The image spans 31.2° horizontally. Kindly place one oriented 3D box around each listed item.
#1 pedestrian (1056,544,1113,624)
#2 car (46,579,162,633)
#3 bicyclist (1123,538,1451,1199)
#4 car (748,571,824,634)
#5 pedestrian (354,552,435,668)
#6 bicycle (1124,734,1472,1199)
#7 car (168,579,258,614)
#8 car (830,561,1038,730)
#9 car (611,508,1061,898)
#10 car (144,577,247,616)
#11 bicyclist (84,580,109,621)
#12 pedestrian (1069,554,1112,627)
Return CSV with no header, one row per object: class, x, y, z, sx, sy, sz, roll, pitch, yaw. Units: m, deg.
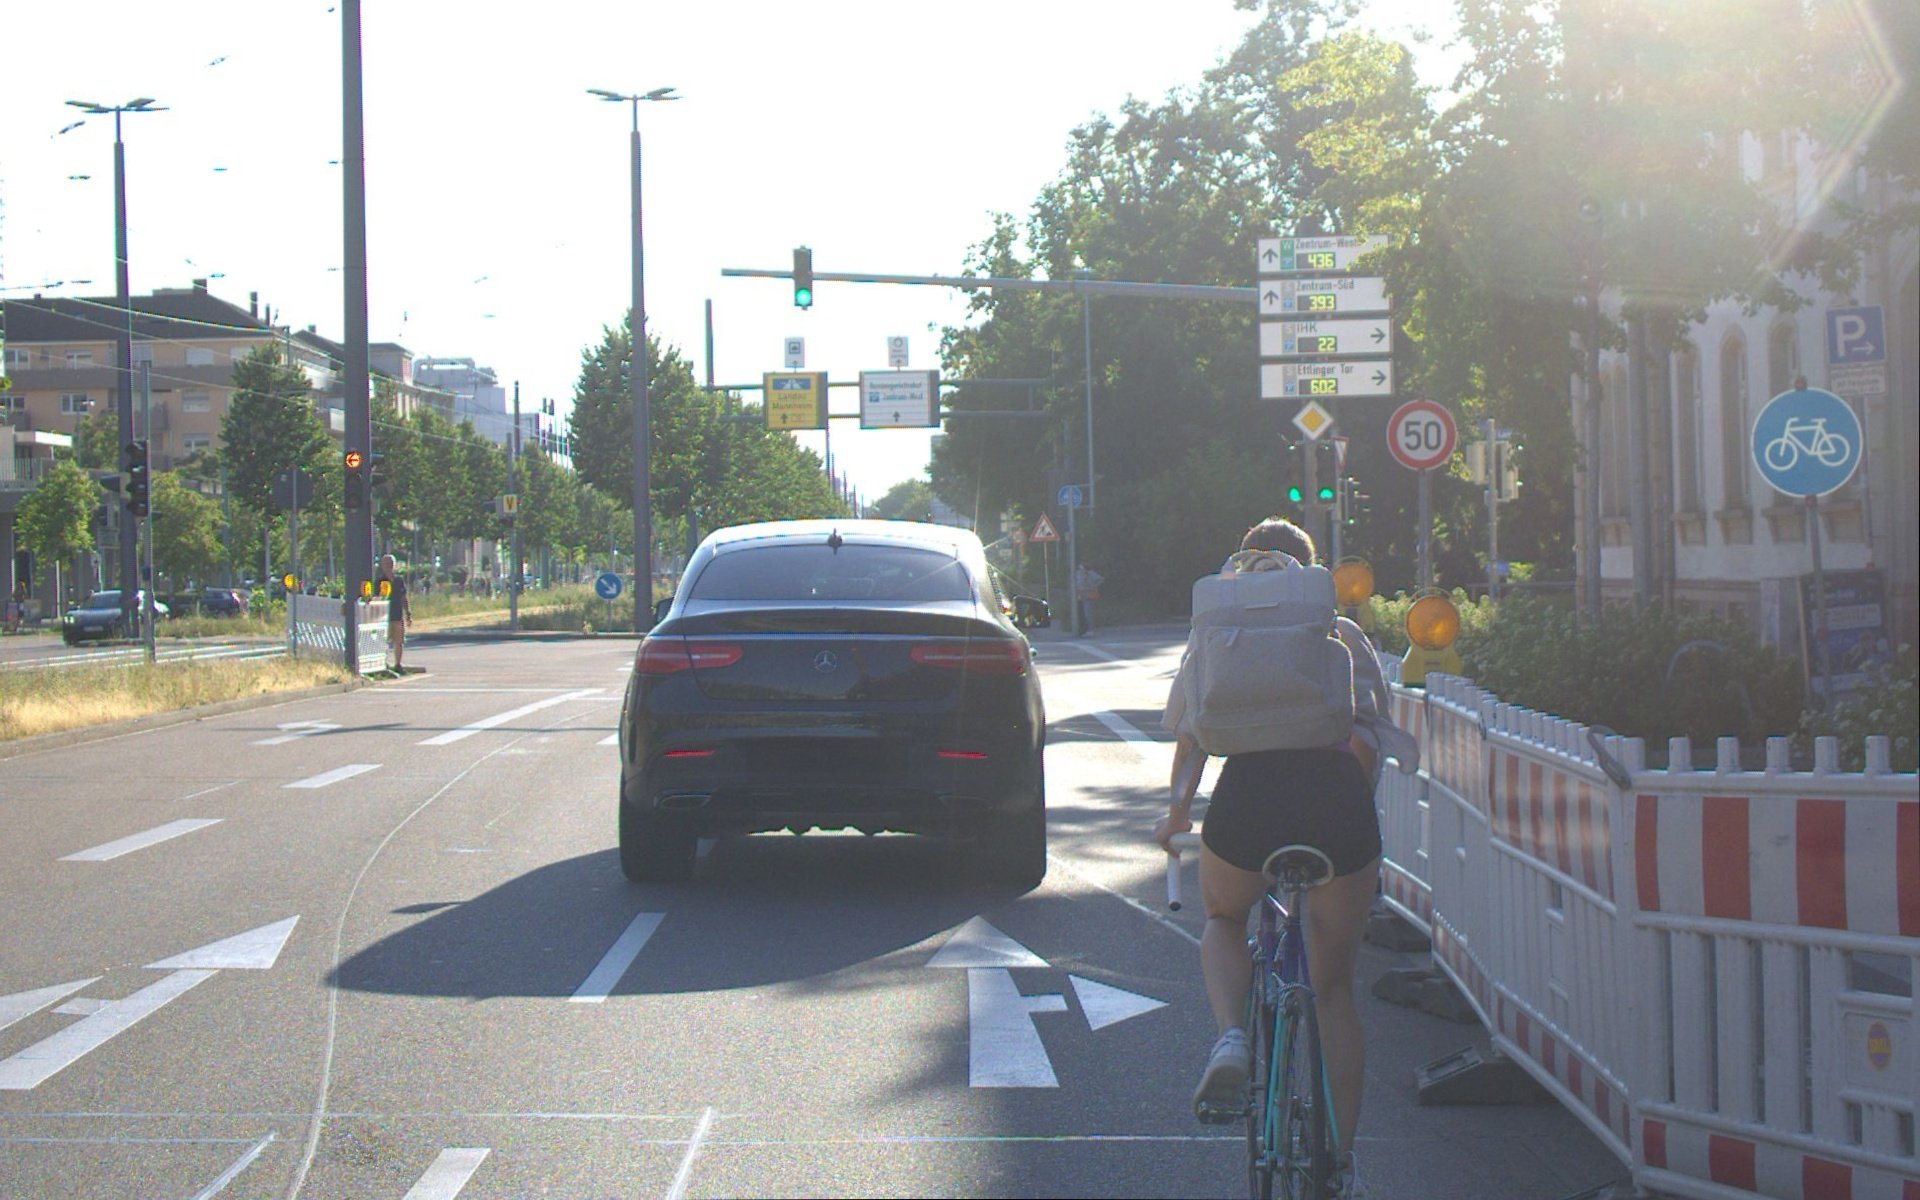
pedestrian,2.883,-0.373,79.801,0.857,1.796,0.907,-3,1,-35
car,-22.611,0.151,90.993,1.891,1.339,4.851,-1,1,-1
bicyclist,0.653,0.620,7.109,0.552,1.486,1.081,-1,1,0
car,-4.570,0.037,90.669,1.885,1.575,4.000,0,1,-1
pedestrian,-8.184,0.142,49.753,0.924,1.643,0.765,-1,0,12
bicycle,0.651,0.880,7.072,0.520,1.093,1.843,-1,1,0
car,-33.702,-0.142,155.138,3.615,1.518,1.620,1,0,-41
car,-0.270,0.394,33.463,1.897,1.522,4.059,0,1,-1
car,-0.632,0.416,17.268,1.993,1.728,4.001,0,1,-2
car,-33.700,-0.129,151.604,4.084,1.595,1.749,1,1,-41
bicyclist,-30.658,0.015,122.041,0.625,1.460,0.851,-1,0,0
pedestrian,2.985,-0.217,78.915,0.766,1.631,0.770,-3,1,-10
